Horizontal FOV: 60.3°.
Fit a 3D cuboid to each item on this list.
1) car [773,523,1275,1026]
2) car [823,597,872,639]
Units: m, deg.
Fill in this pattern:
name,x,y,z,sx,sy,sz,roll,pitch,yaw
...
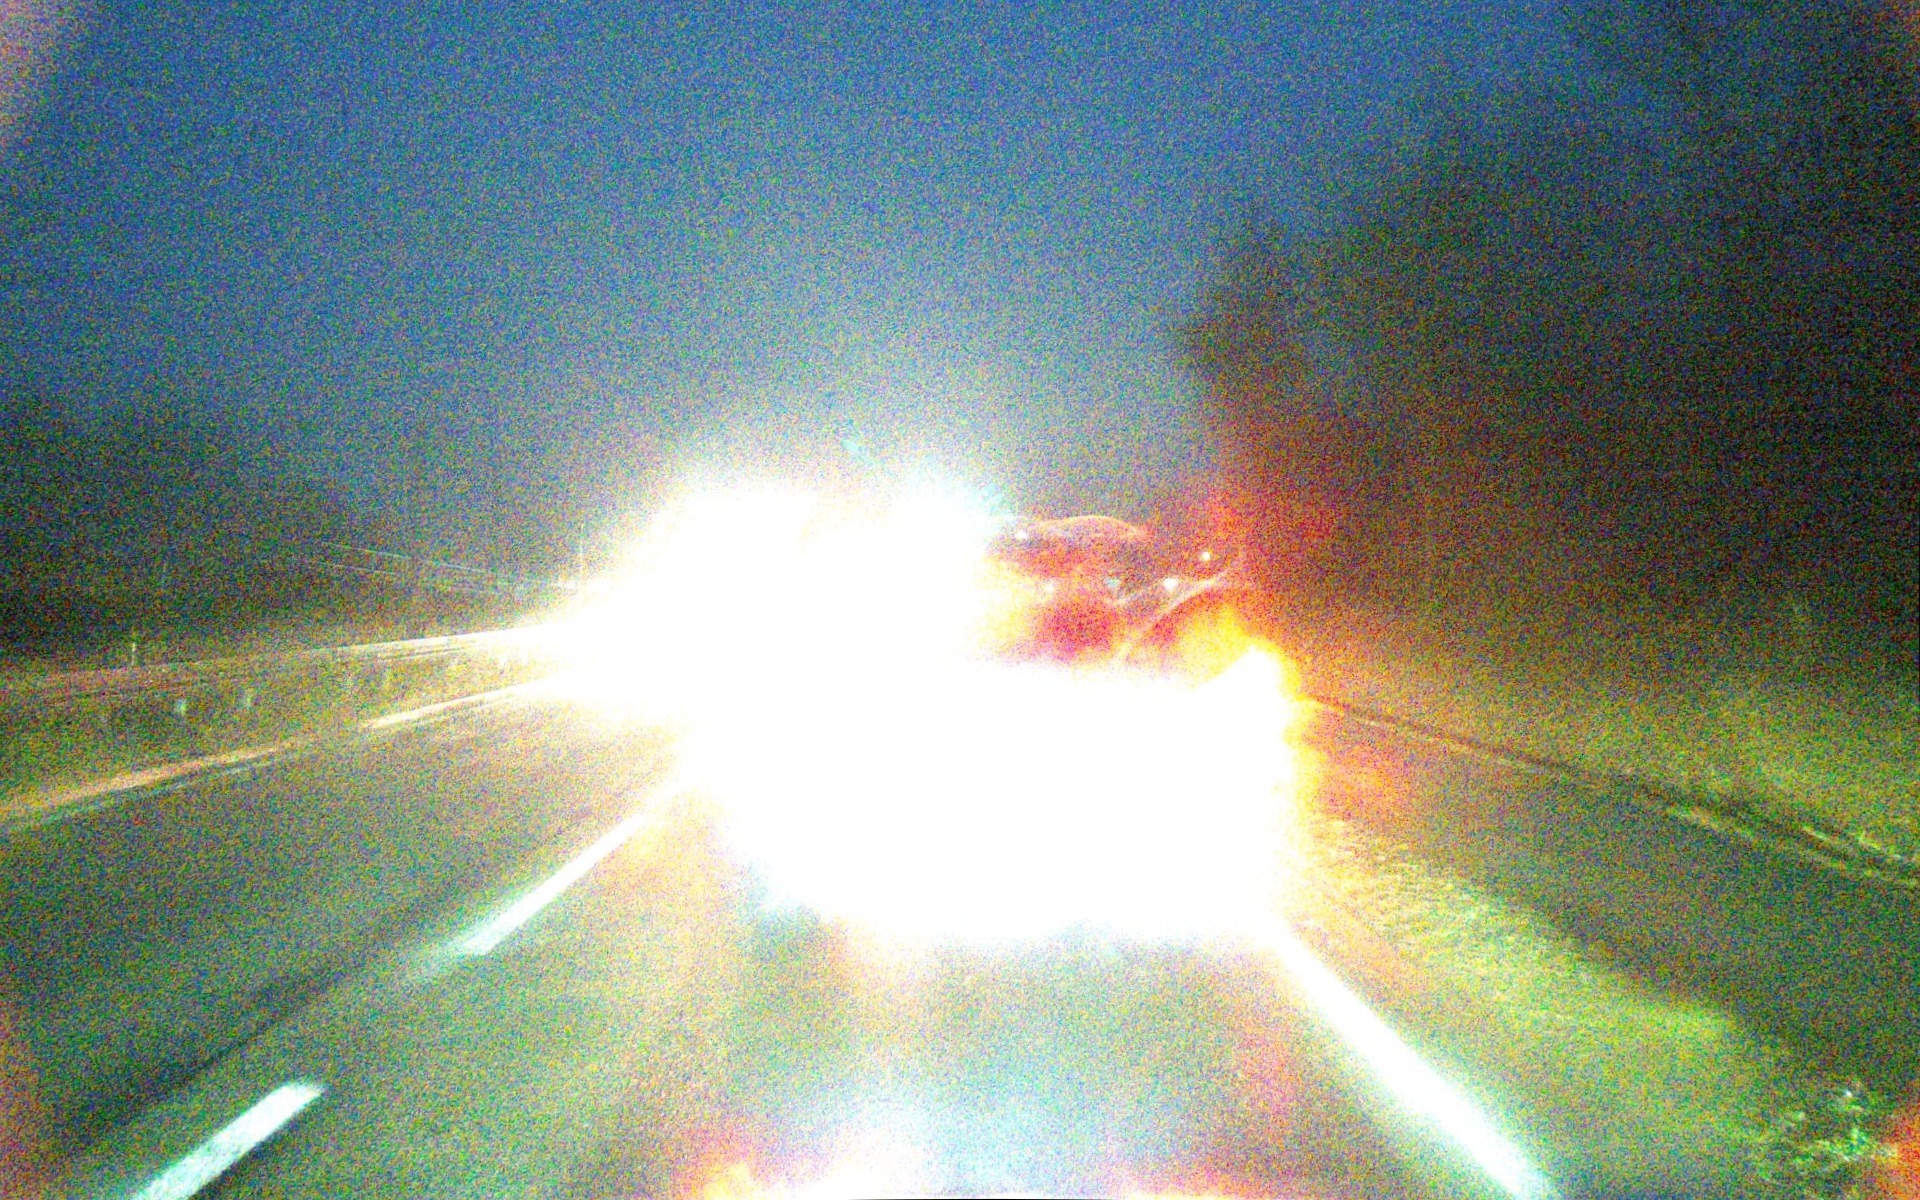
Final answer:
name,x,y,z,sx,sy,sz,roll,pitch,yaw
car,0.213,0.598,7.812,1.739,1.742,4.000,1,0,-1
car,-4.661,0.736,68.971,1.912,1.685,4.122,0,0,-3
